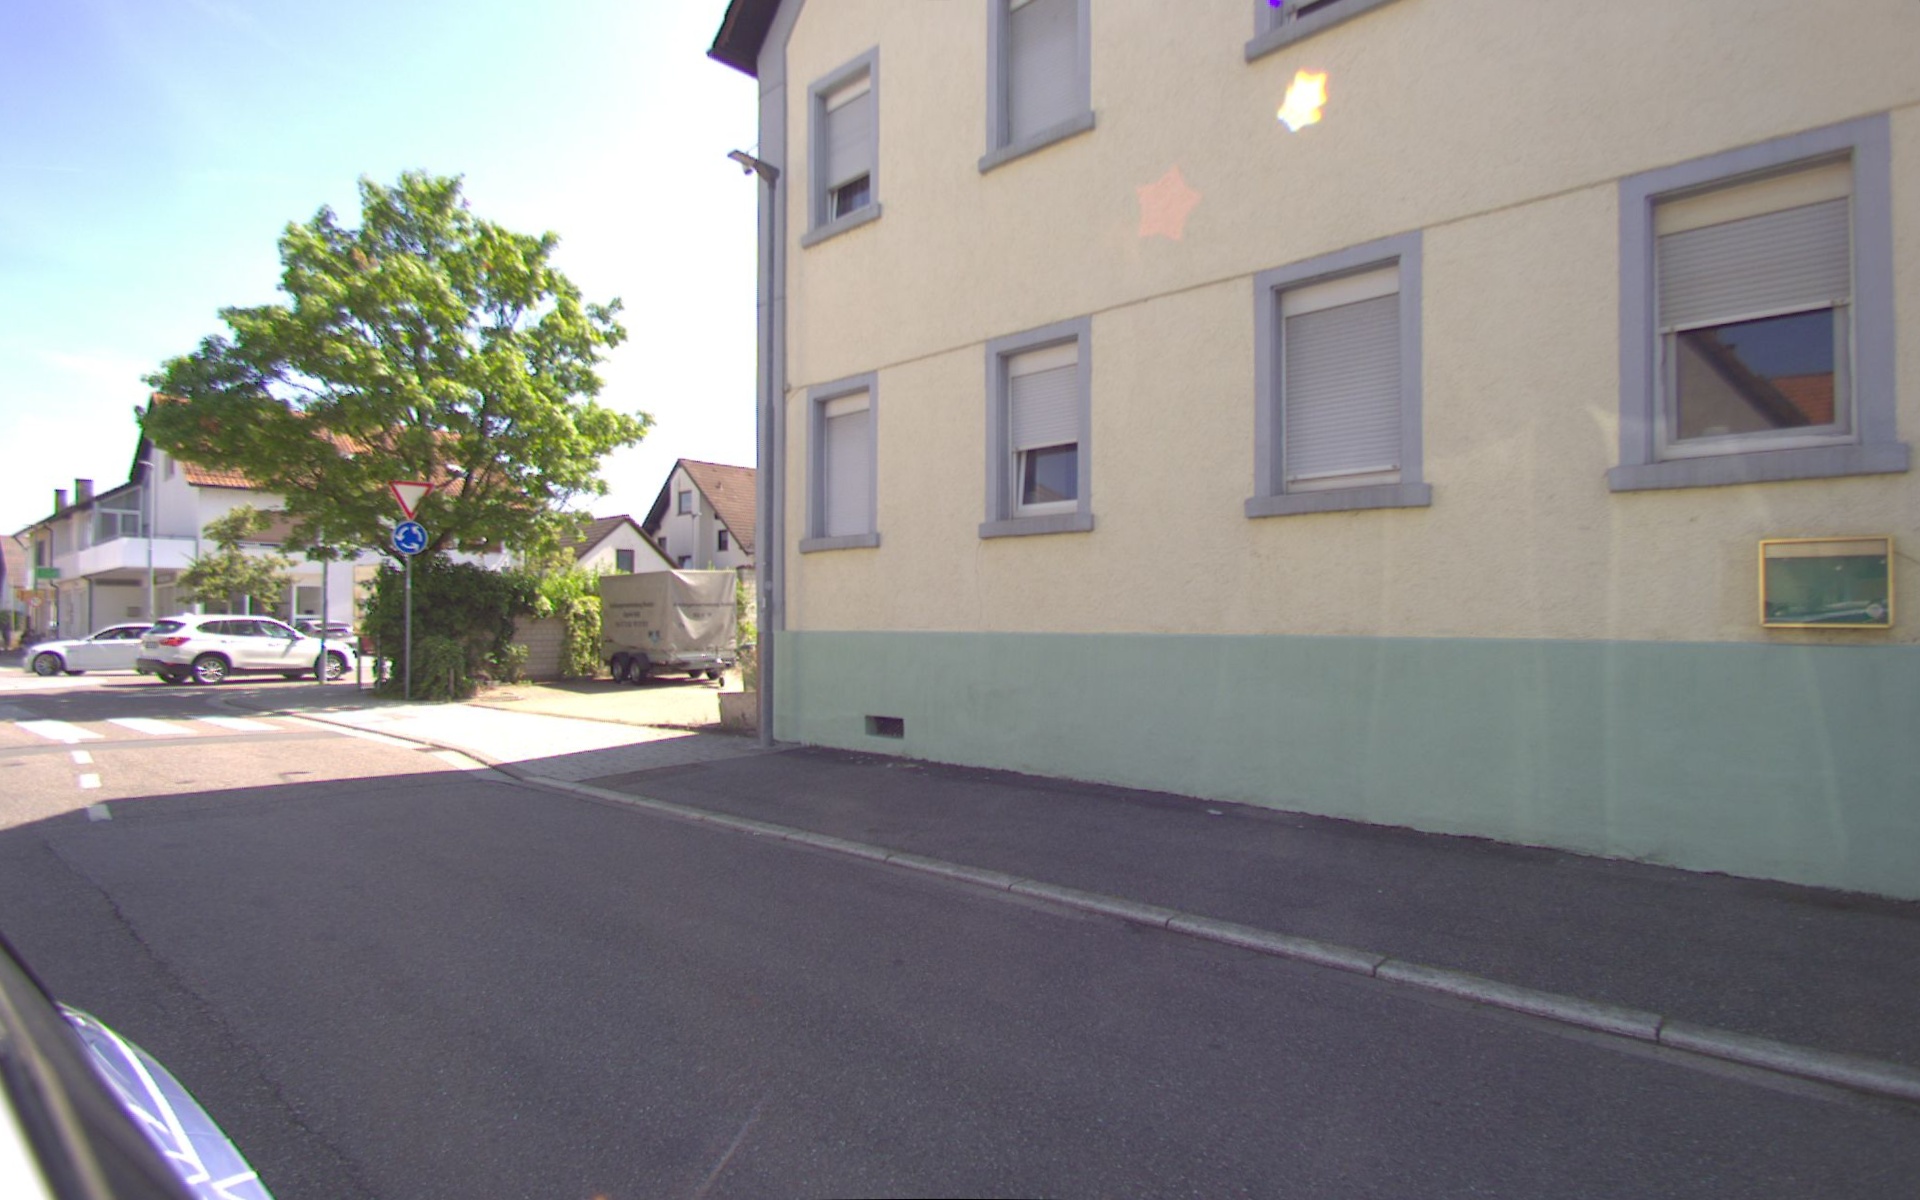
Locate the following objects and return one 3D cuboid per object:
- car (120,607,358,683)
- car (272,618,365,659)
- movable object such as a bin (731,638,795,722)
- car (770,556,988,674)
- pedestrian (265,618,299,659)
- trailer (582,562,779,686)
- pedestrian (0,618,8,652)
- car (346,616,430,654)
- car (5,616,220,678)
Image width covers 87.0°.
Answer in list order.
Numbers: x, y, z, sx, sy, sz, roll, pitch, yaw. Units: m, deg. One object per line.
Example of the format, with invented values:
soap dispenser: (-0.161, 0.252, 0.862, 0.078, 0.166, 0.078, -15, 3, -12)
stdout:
car: (-17.170, 1.036, 24.334, 1.838, 1.658, 4.330, -2, -2, 29)
car: (-24.815, 1.446, 39.082, 4.476, 1.461, 1.811, -1, -1, 41)
movable object such as a bin: (-2.665, 1.058, 13.685, 0.658, 1.087, 0.593, -2, -2, 44)
car: (-2.103, 0.371, 24.708, 5.646, 2.586, 1.916, -2, 0, 42)
pedestrian: (-27.213, 1.543, 40.615, 0.757, 1.595, 0.943, -1, 1, 42)
trailer: (-5.992, 0.494, 21.423, 4.522, 2.353, 1.859, -2, 0, 42)
pedestrian: (-51.960, 1.882, 54.772, 0.693, 1.803, 0.571, -1, 0, 41)
car: (-23.295, 1.390, 41.163, 3.962, 1.488, 1.729, -1, -1, 41)
car: (-23.354, 1.295, 28.111, 4.260, 1.460, 1.887, -1, -4, -28)
